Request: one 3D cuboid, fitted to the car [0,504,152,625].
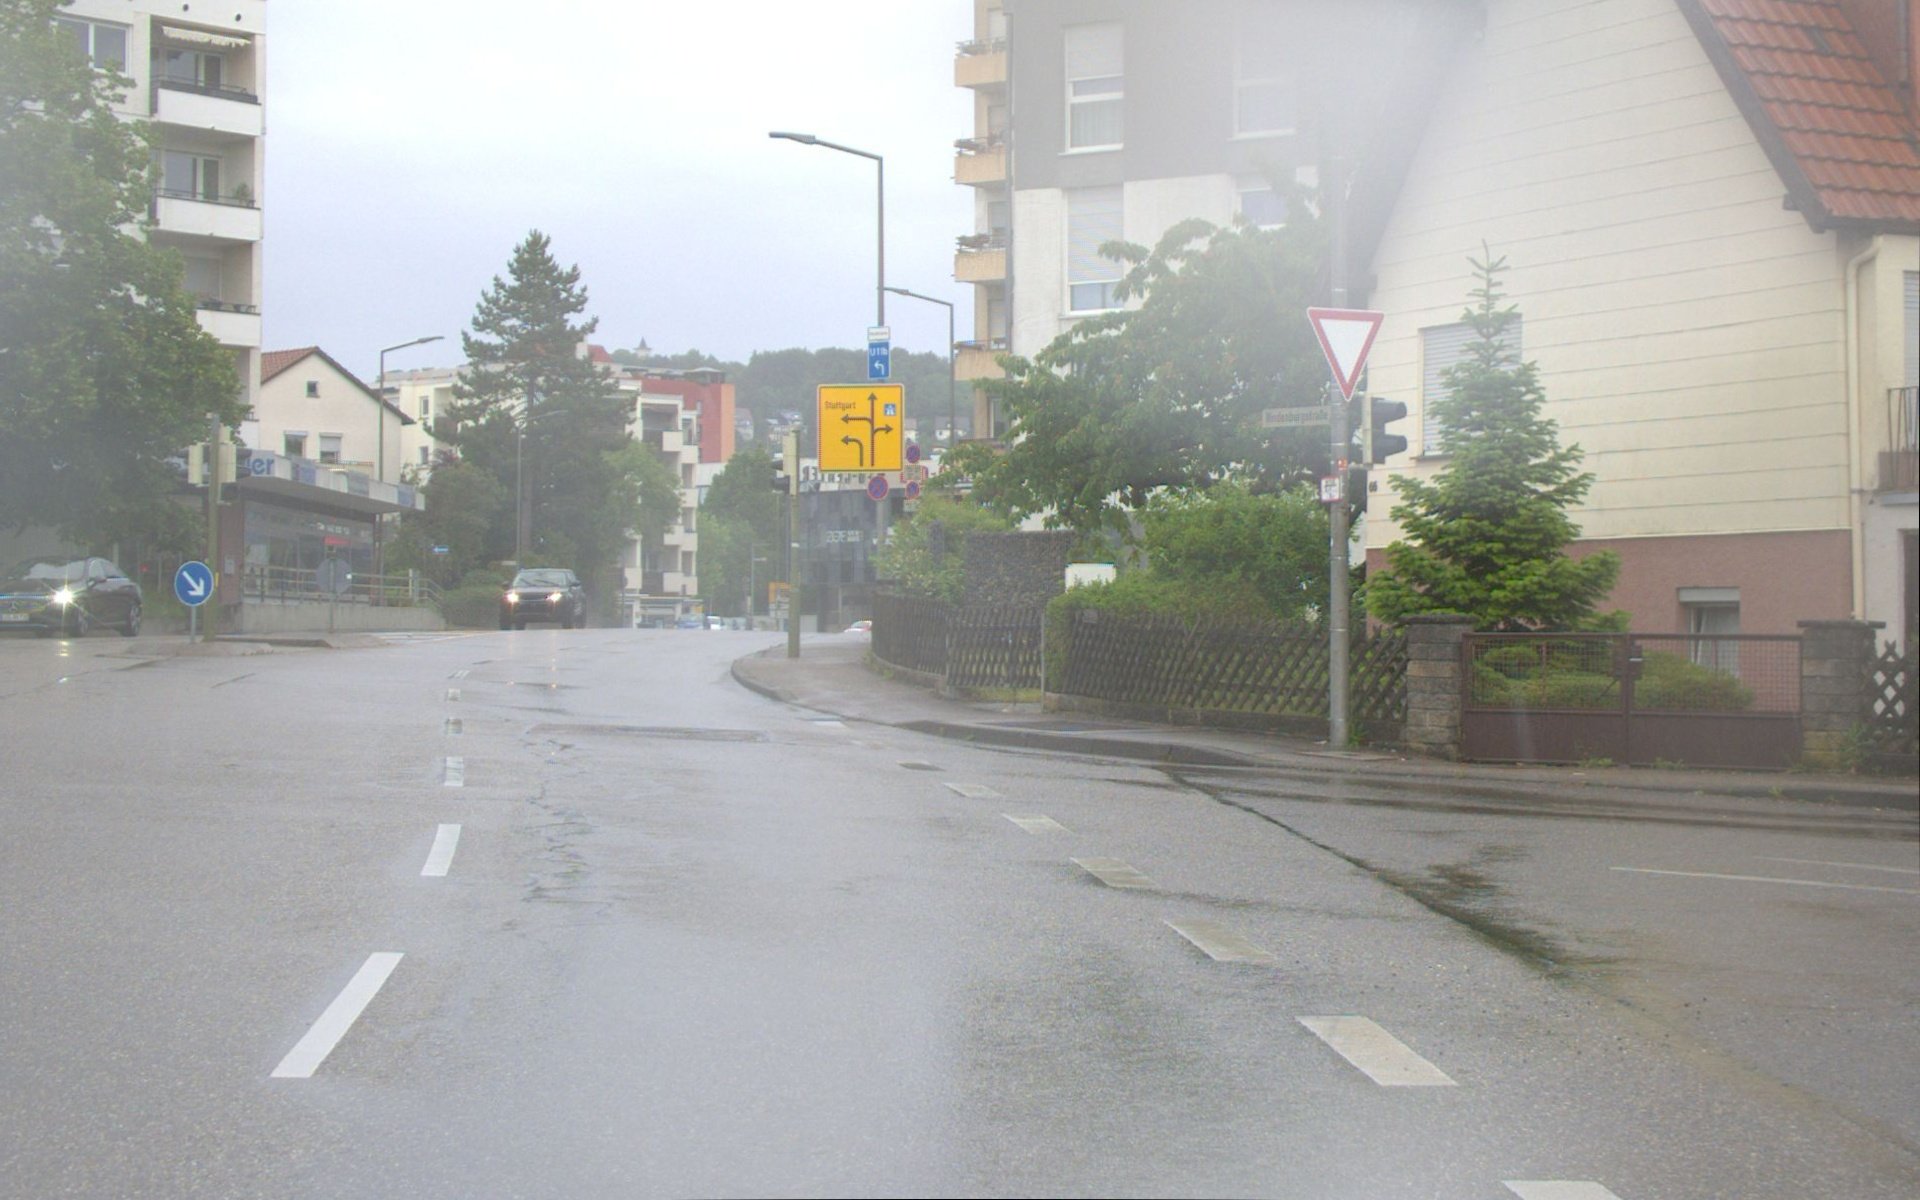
[{"bbox_3d":[-15.633,-0.636,60.118,1.993,2.007,4.652,1,1,-1],"label":"car"}]

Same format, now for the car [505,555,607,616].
[{"bbox_3d":[-10.642,-0.393,90.865,1.803,1.551,4.317,1,1,5],"label":"car"}]
